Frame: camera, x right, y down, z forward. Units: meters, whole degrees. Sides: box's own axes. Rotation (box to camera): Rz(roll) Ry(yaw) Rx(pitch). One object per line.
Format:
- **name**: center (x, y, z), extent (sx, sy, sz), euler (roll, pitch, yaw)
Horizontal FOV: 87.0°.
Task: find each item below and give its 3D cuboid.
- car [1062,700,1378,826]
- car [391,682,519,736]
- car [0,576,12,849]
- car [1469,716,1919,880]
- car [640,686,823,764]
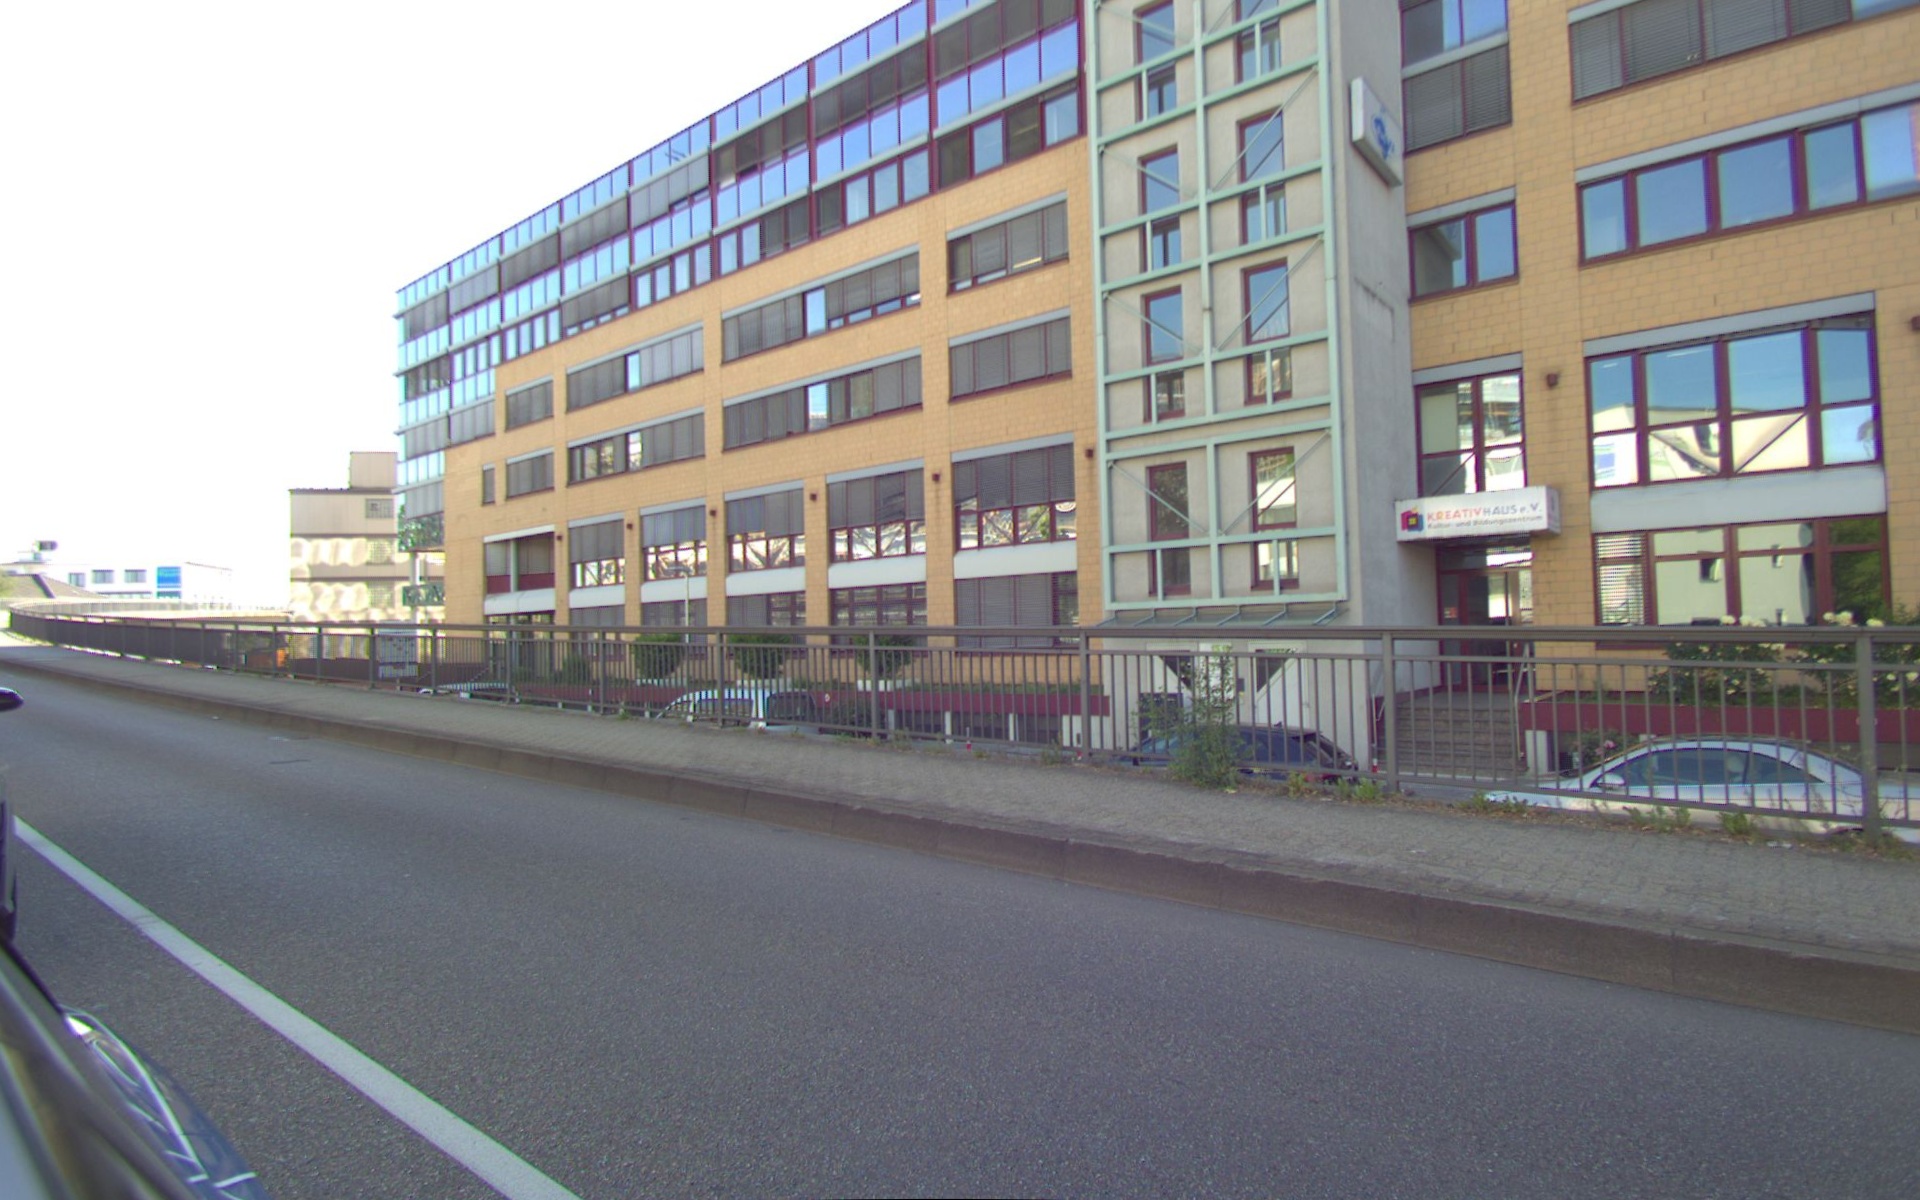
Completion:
- **car**: center (3.388, 2.076, 13.586), extent (3.805, 1.279, 1.560), euler (-3, -4, 40)
- **car**: center (-13.825, 2.923, 27.635), extent (3.805, 1.279, 1.744), euler (-3, -4, 40)
- **car**: center (-5.848, 0.778, 4.668), extent (3.998, 1.660, 1.726), euler (-3, -4, 41)
- **car**: center (7.681, 1.884, 10.216), extent (4.254, 1.175, 1.704), euler (-3, -4, 40)
- **car**: center (-4.599, 2.422, 20.136), extent (3.805, 1.279, 1.560), euler (-3, -4, 40)
